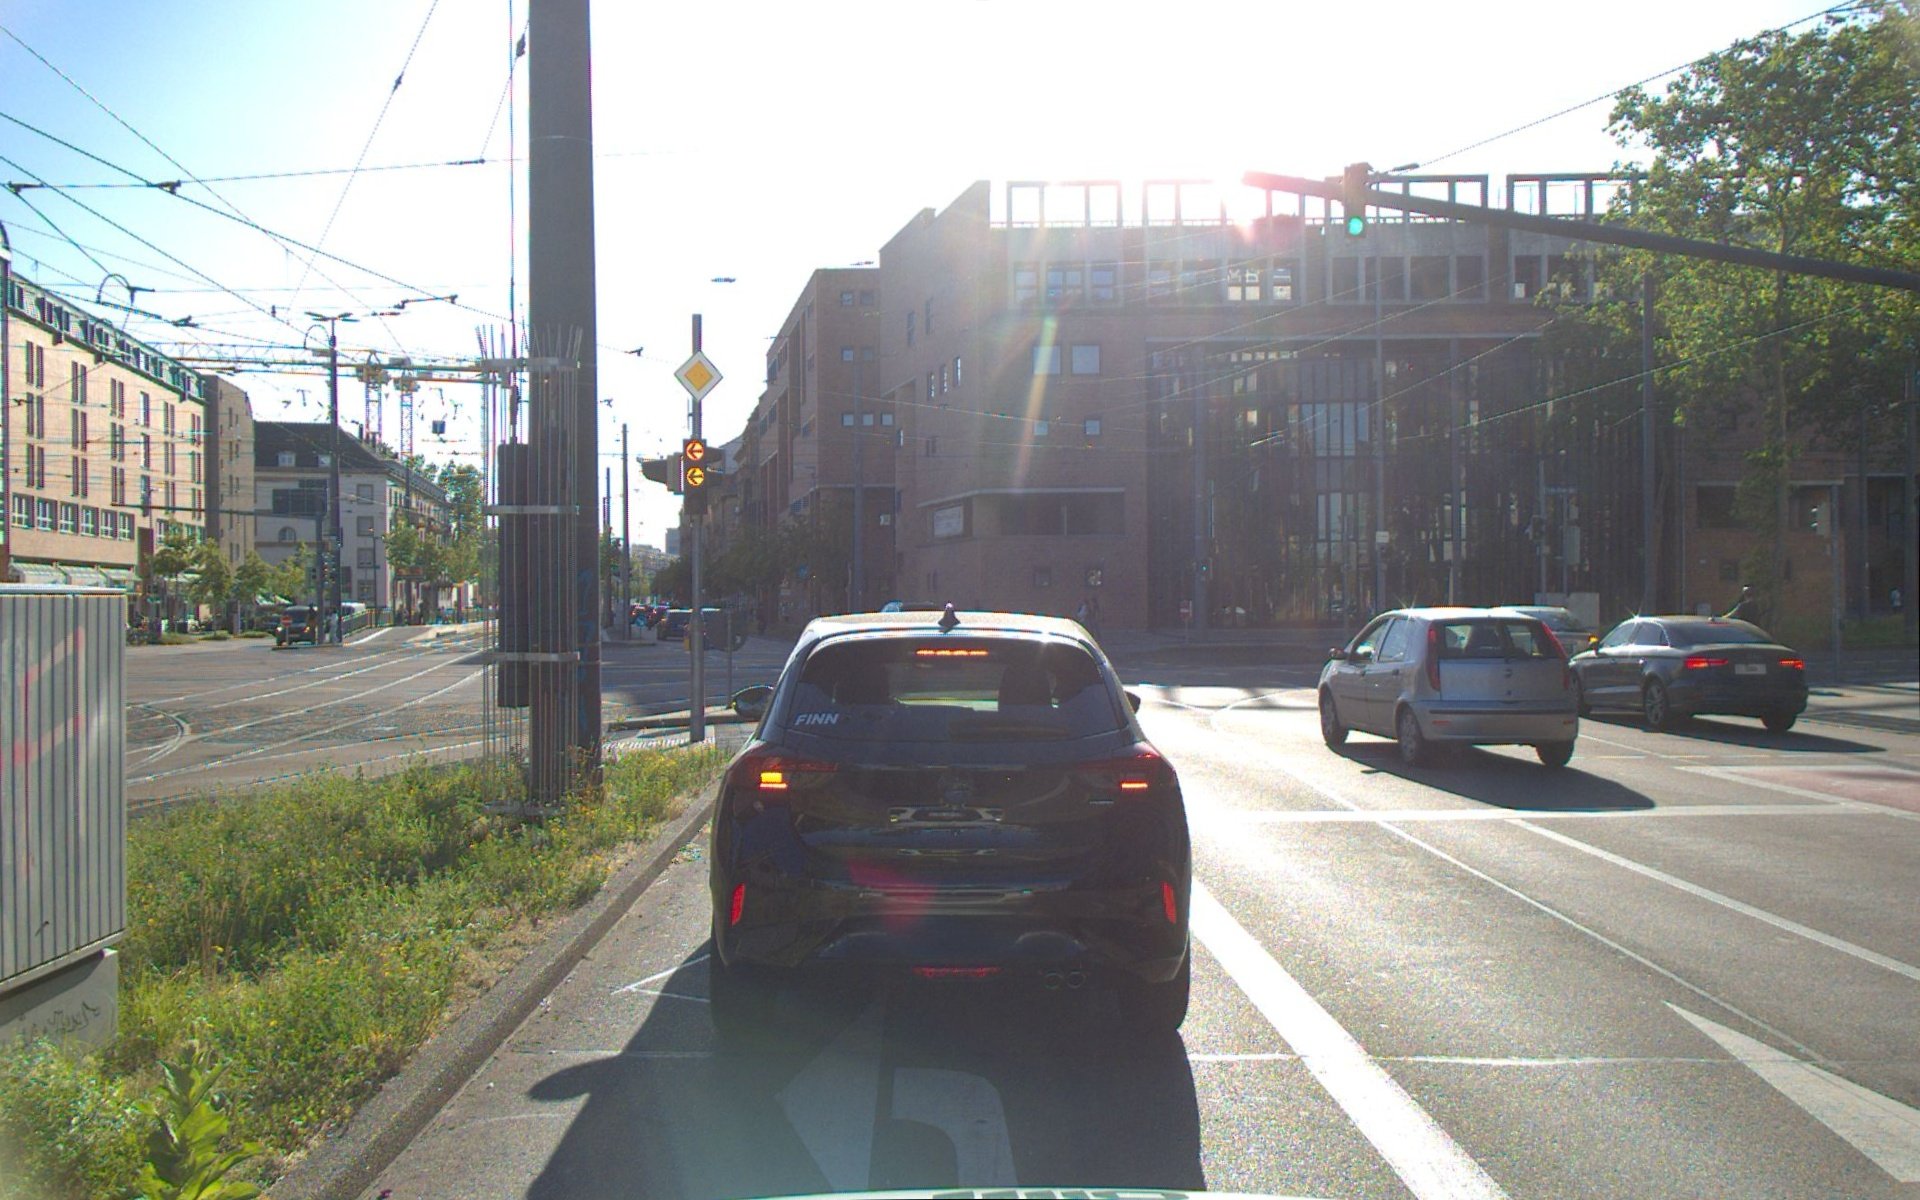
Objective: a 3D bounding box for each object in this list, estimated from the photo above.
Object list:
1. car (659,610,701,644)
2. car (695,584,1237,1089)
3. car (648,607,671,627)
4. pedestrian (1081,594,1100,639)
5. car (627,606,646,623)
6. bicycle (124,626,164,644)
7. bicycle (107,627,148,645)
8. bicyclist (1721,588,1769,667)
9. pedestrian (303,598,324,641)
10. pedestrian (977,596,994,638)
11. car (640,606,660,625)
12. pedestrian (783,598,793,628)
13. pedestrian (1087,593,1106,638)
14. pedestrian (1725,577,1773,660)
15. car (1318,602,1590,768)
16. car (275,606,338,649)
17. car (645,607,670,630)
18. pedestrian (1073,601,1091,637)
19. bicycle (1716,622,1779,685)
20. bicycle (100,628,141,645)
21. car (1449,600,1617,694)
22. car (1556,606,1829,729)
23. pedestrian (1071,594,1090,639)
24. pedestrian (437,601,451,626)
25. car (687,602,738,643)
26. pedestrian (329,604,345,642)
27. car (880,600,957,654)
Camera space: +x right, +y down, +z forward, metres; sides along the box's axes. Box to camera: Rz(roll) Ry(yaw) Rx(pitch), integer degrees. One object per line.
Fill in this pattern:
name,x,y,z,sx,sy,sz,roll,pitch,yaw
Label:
car,-12.945,1.244,76.329,1.691,1.479,3.685,-1,0,-13
car,-0.005,0.720,6.889,1.638,1.528,3.690,1,0,-1
car,-23.214,1.323,127.677,1.489,1.479,3.572,-1,0,-13
pedestrian,5.302,0.665,67.130,0.563,1.817,0.546,-1,0,-20
car,-29.445,1.294,150.460,1.489,1.479,3.572,-1,0,-13
bicycle,-46.245,1.972,93.709,1.992,0.937,0.483,-1,0,-2
bicycle,-46.586,1.992,92.532,1.992,0.937,0.483,-1,0,-2
bicyclist,14.573,0.500,30.700,0.653,1.432,0.812,1,2,37
pedestrian,-26.800,0.808,68.567,0.708,1.757,0.593,-1,0,-11
pedestrian,1.114,0.740,72.495,0.628,1.817,0.687,-1,0,-6
car,-25.656,1.278,136.864,1.489,1.479,3.572,-1,0,-13
pedestrian,-10.738,0.820,103.288,0.537,1.817,0.572,-1,2,-9
pedestrian,5.675,0.647,68.594,0.563,1.817,0.546,-1,0,-20
pedestrian,16.935,0.398,35.500,0.774,1.764,0.587,1,-1,7
car,4.875,0.775,16.769,1.529,1.481,3.429,-1,0,-4
car,-30.794,1.263,78.049,1.805,1.868,4.099,-2,0,-9
car,-20.818,1.244,113.578,1.489,1.479,3.572,-1,0,-13
pedestrian,5.134,0.790,69.640,0.541,1.503,0.568,-1,1,-29
bicycle,14.711,0.986,30.878,0.653,1.036,2.176,1,2,37
bicycle,-46.263,2.015,91.148,1.992,0.860,0.483,-1,0,-2
car,9.877,0.761,28.792,1.660,1.500,3.983,-1,0,2
car,9.517,0.826,21.857,1.661,1.465,4.016,0,-1,-3
pedestrian,4.941,0.661,67.713,0.563,1.817,0.546,-1,0,-20
pedestrian,-35.646,0.928,114.223,0.849,1.699,0.779,0,1,-22
car,-9.469,0.851,63.116,1.690,1.479,3.687,-1,0,-11
pedestrian,-26.723,0.999,70.909,0.573,1.604,0.641,-1,0,-25
car,-1.268,0.771,48.794,1.641,1.479,3.687,-1,0,-11
